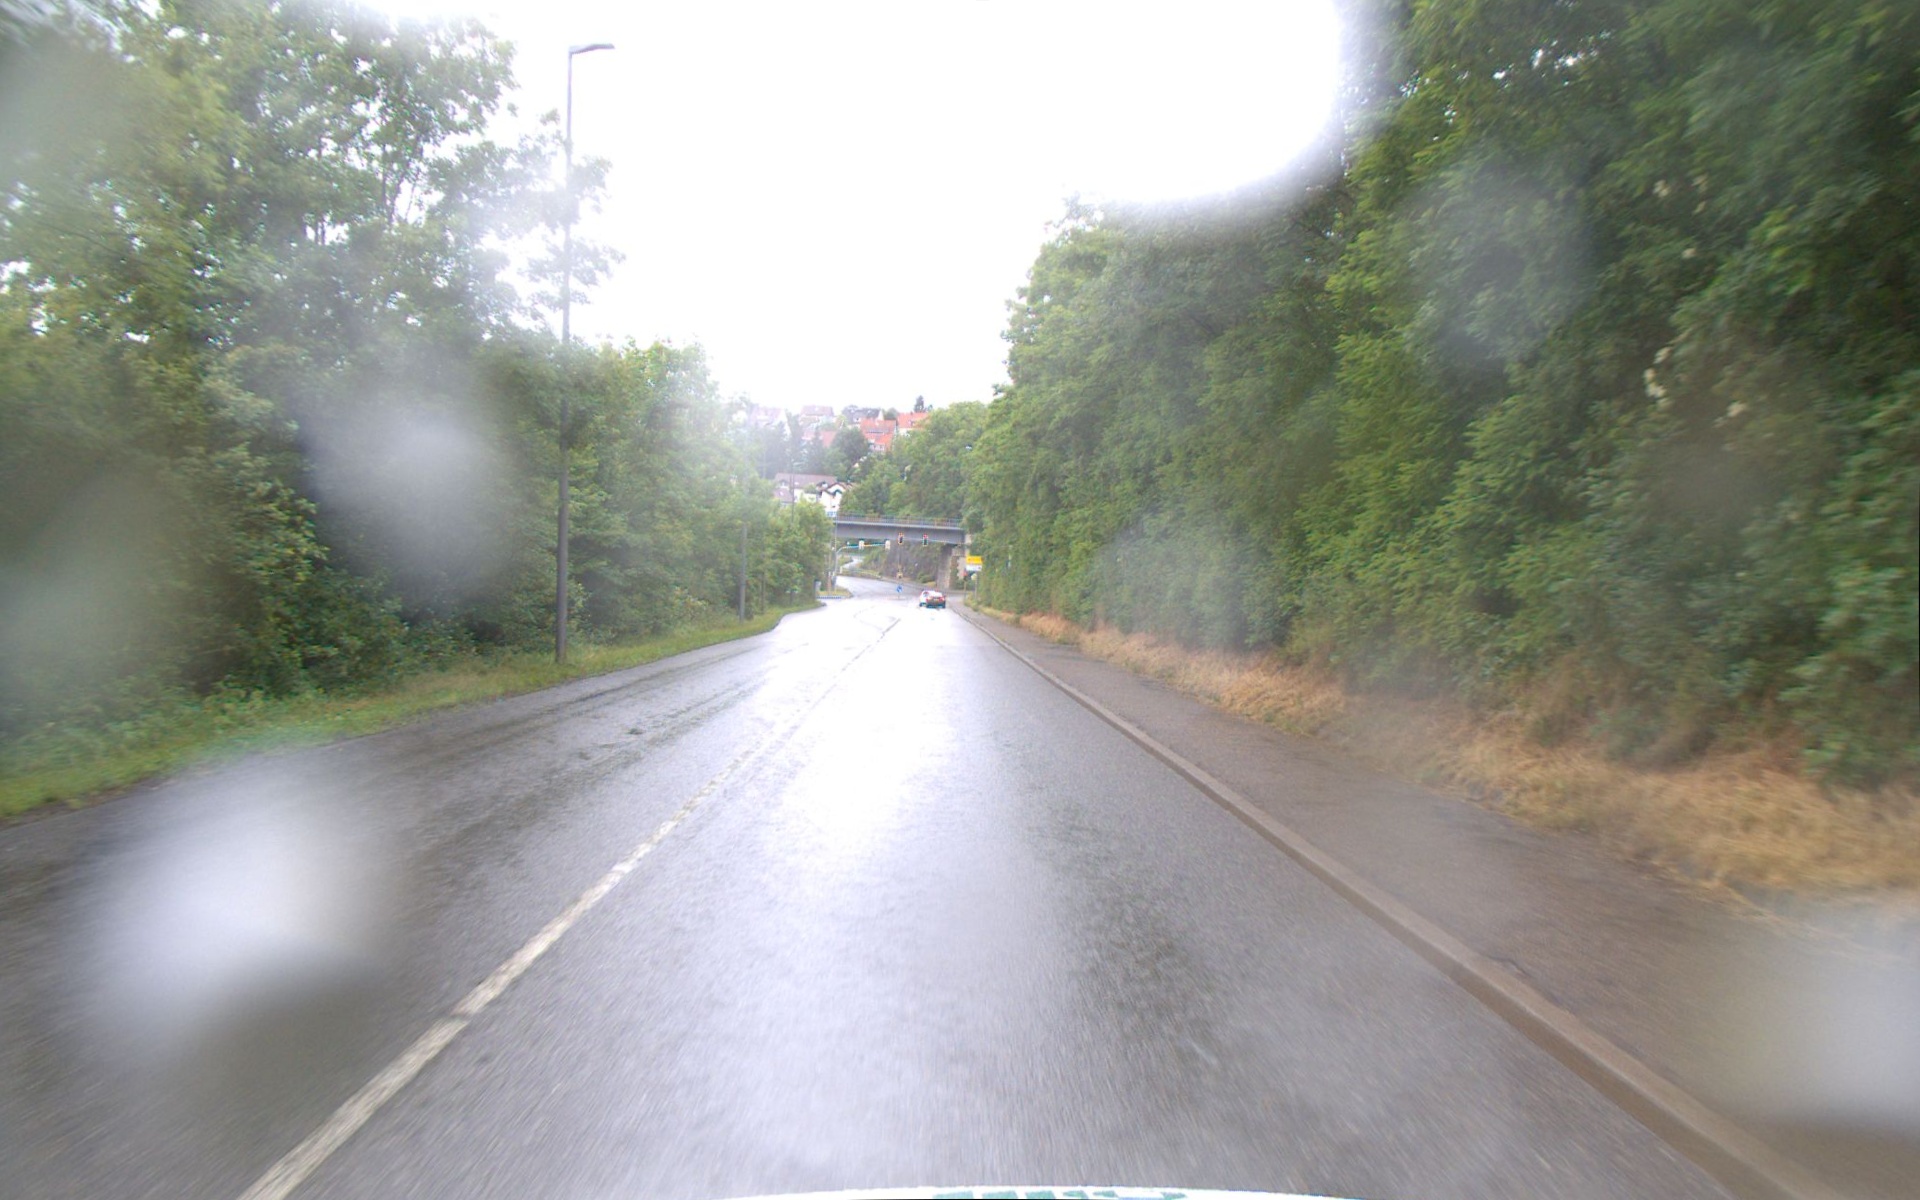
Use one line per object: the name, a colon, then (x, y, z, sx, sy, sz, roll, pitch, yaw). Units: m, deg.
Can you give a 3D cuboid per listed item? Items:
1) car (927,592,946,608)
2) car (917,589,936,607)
car: (-2.102, 0.001, 149.544, 1.732, 1.404, 3.999, 1, 0, -1)
car: (-3.113, -0.200, 156.188, 1.732, 1.590, 3.999, 1, 0, -1)
